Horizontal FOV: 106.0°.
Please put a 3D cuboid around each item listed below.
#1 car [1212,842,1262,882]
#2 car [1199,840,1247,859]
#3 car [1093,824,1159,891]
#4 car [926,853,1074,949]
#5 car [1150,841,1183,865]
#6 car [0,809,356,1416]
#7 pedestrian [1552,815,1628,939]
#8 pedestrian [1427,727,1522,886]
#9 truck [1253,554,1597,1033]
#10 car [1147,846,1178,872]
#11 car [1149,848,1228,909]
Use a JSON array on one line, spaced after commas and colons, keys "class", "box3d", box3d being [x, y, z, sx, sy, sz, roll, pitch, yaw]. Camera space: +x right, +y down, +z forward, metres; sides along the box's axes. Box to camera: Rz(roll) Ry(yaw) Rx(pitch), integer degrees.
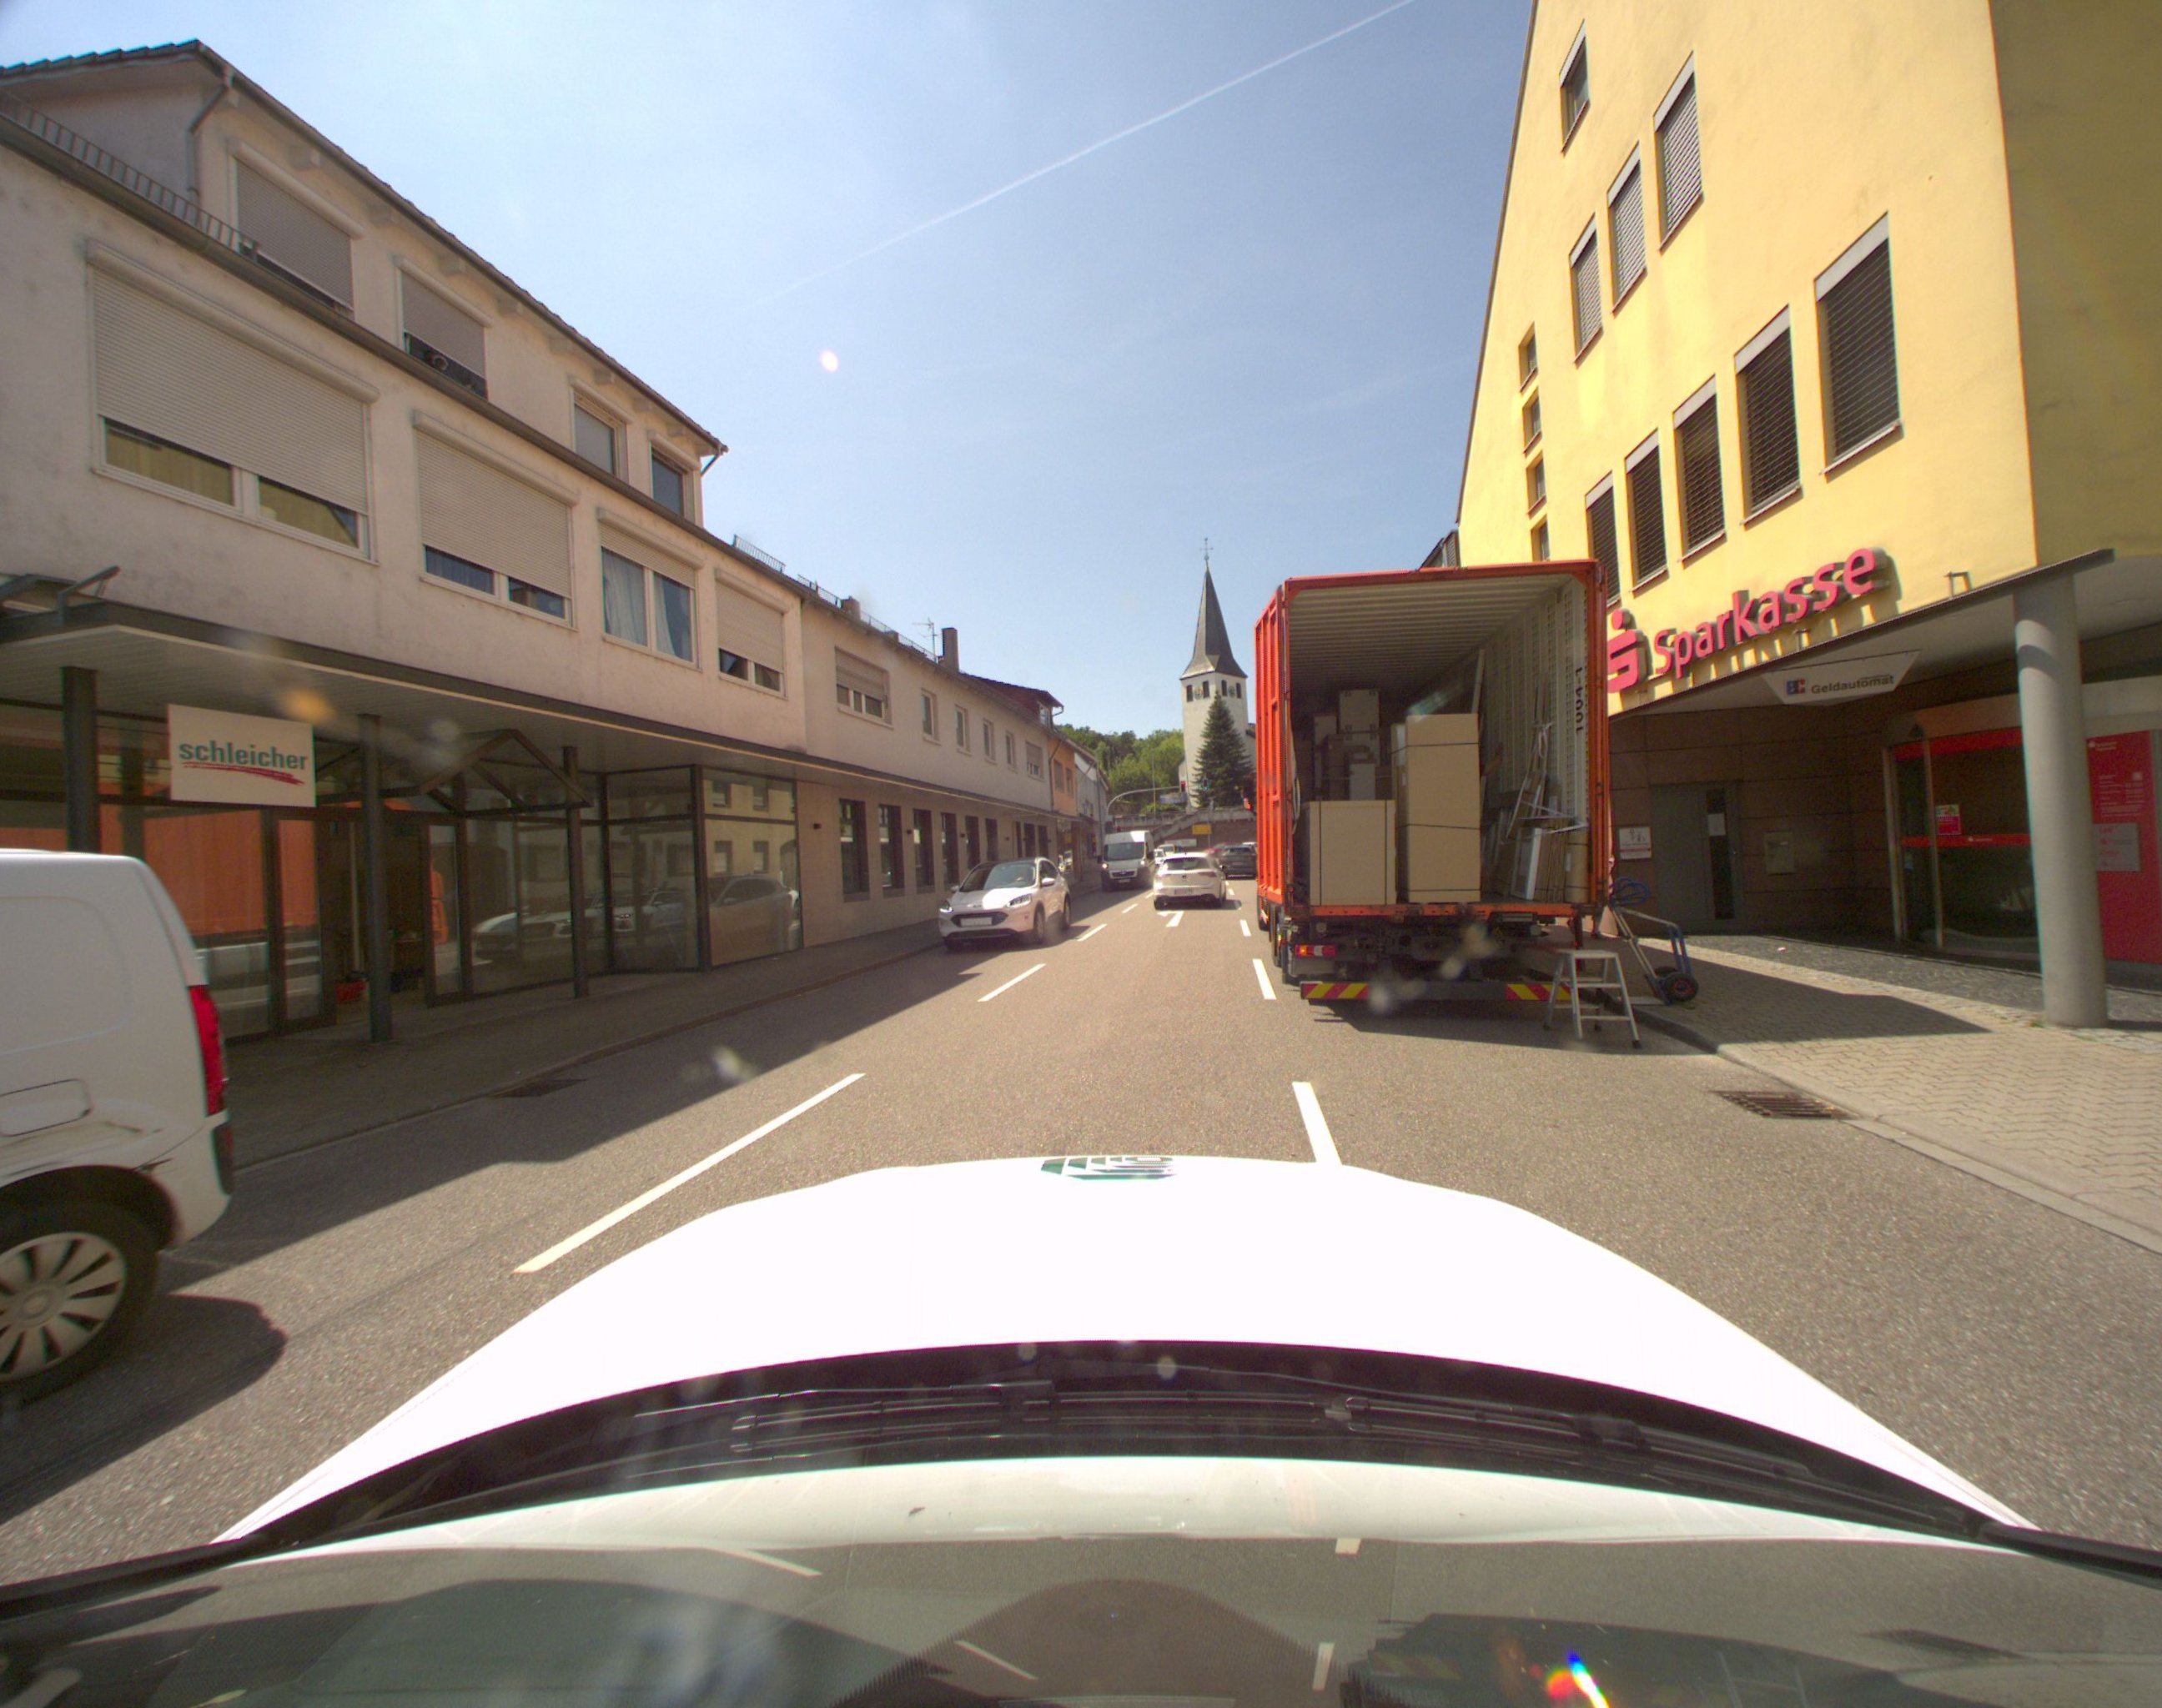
[{"class": "car", "box3d": [7.328, 0.332, 38.571, 1.939, 1.582, 4.335, -3, 2, 6]}, {"class": "car", "box3d": [13.639, -0.471, 78.383, 4.293, 1.408, 1.708, -6, 0, -26]}, {"class": "car", "box3d": [2.100, 0.127, 36.009, 2.127, 2.568, 5.408, -5, 0, 9]}, {"class": "car", "box3d": [-1.467, 0.857, 16.490, 1.807, 1.554, 4.209, -5, -1, 9]}, {"class": "car", "box3d": [6.782, -0.129, 64.431, 1.665, 1.617, 3.840, -5, 1, 19]}, {"class": "car", "box3d": [-4.375, 0.833, 1.321, 1.772, 1.830, 4.611, -4, -1, 9]}, {"class": "pedestrian", "box3d": [7.003, 0.308, 11.235, 0.684, 1.653, 0.652, -1, -1, 11]}, {"class": "pedestrian", "box3d": [4.546, -0.518, 9.478, 0.745, 1.757, 0.930, -1, -1, 9]}, {"class": "truck", "box3d": [3.928, -0.595, 11.853, 2.591, 3.945, 10.024, -1, 1, 11]}, {"class": "car", "box3d": [5.229, 0.294, 52.040, 1.586, 1.455, 3.458, -5, -1, 11]}, {"class": "car", "box3d": [3.027, 0.603, 22.325, 1.771, 1.458, 3.876, -3, 0, 12]}]
